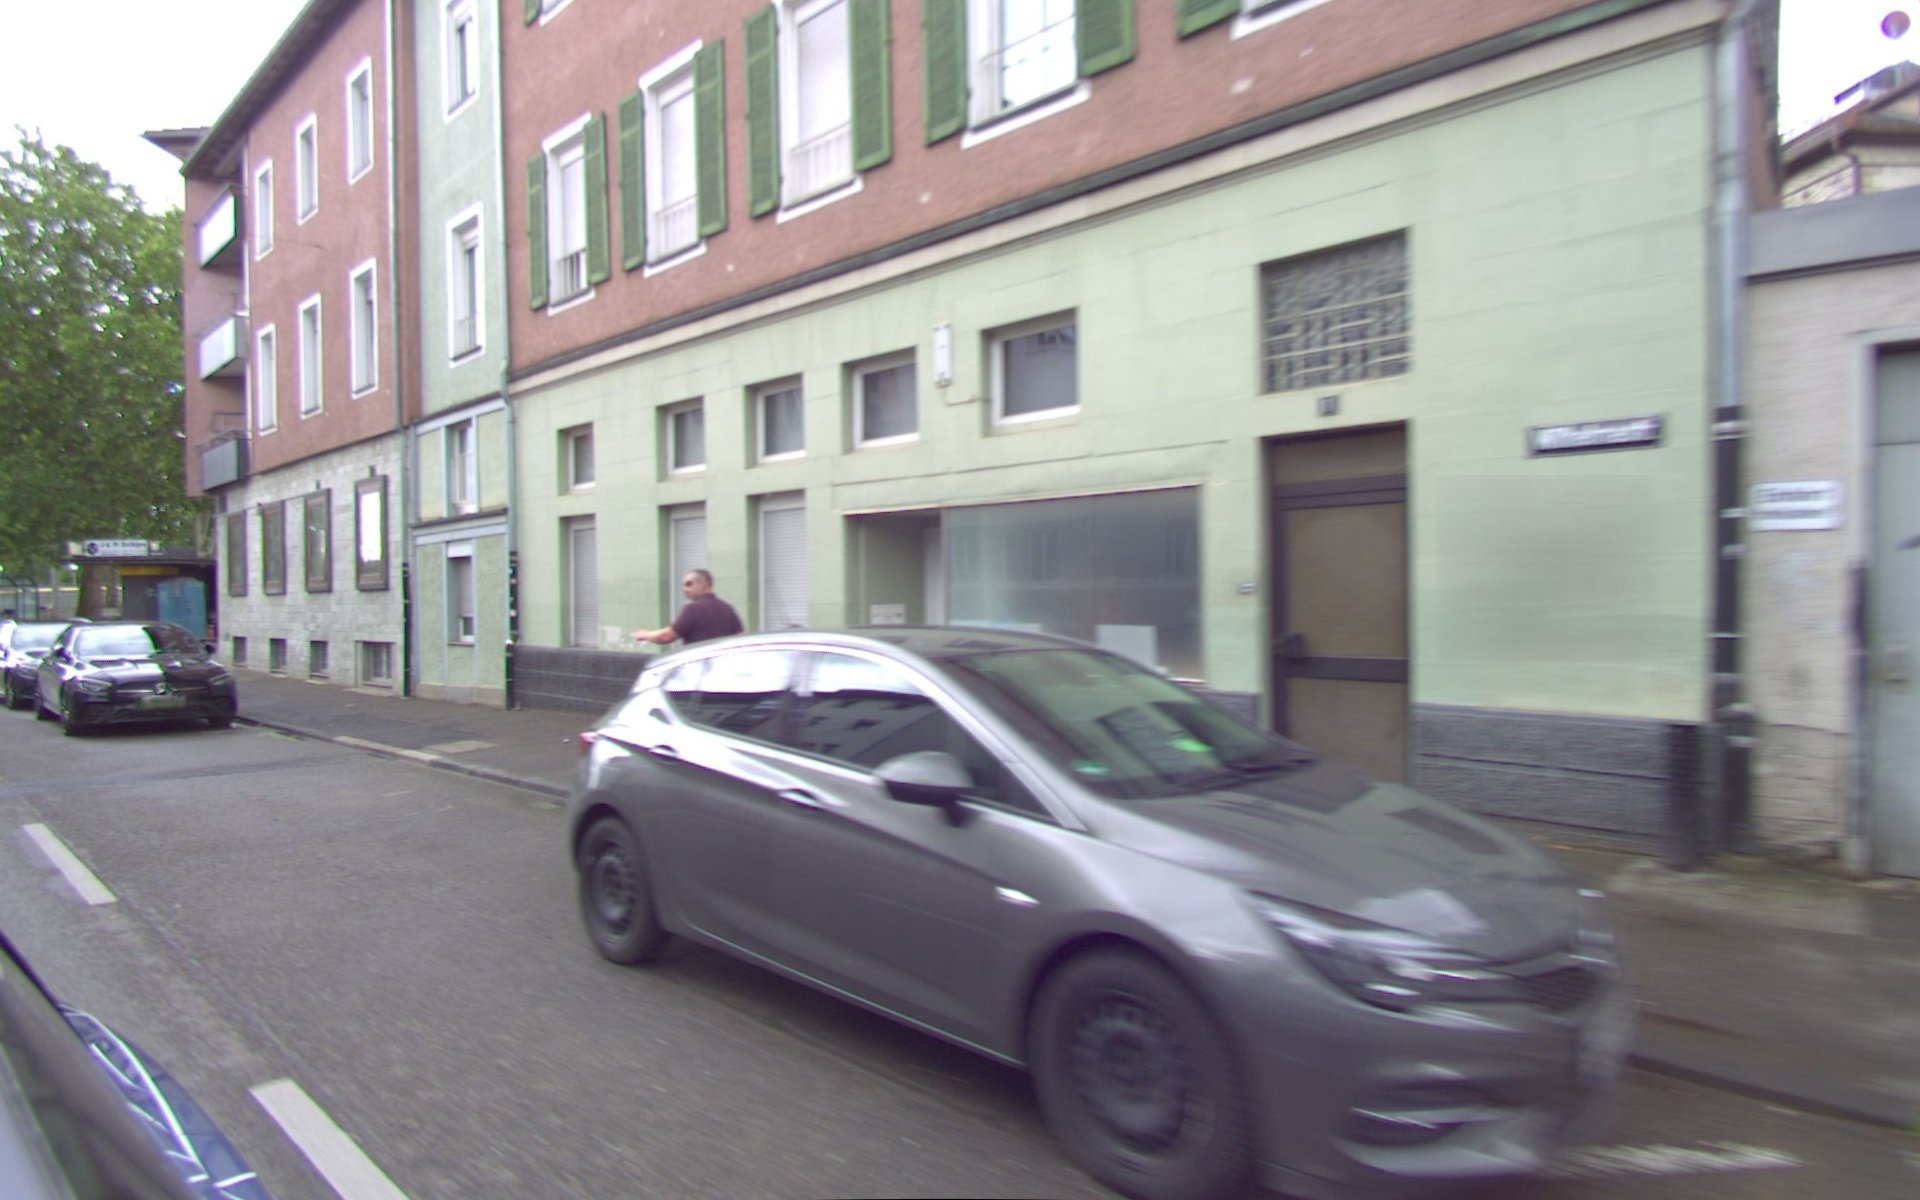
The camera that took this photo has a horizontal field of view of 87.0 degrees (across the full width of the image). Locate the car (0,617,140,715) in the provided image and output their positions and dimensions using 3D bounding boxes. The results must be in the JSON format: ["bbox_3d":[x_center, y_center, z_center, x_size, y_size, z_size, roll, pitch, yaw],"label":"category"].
[{"bbox_3d":[-16.438,1.073,18.063,4.578,1.466,1.811,0,0,38],"label":"car"}]

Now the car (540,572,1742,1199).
[{"bbox_3d":[0.286,0.744,3.862,4.126,1.497,1.858,-2,1,42],"label":"car"}]

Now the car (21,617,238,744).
[{"bbox_3d":[-12.174,1.025,14.699,4.921,1.466,1.809,0,0,43],"label":"car"}]

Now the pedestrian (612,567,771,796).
[{"bbox_3d":[-2.231,0.637,8.405,0.984,1.757,0.753,-3,1,40],"label":"pedestrian"}]

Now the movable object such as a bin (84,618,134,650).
[{"bbox_3d":[-28.656,1.149,34.092,1.063,0.971,0.673,-3,4,-2],"label":"movable object such as a bin"}]
